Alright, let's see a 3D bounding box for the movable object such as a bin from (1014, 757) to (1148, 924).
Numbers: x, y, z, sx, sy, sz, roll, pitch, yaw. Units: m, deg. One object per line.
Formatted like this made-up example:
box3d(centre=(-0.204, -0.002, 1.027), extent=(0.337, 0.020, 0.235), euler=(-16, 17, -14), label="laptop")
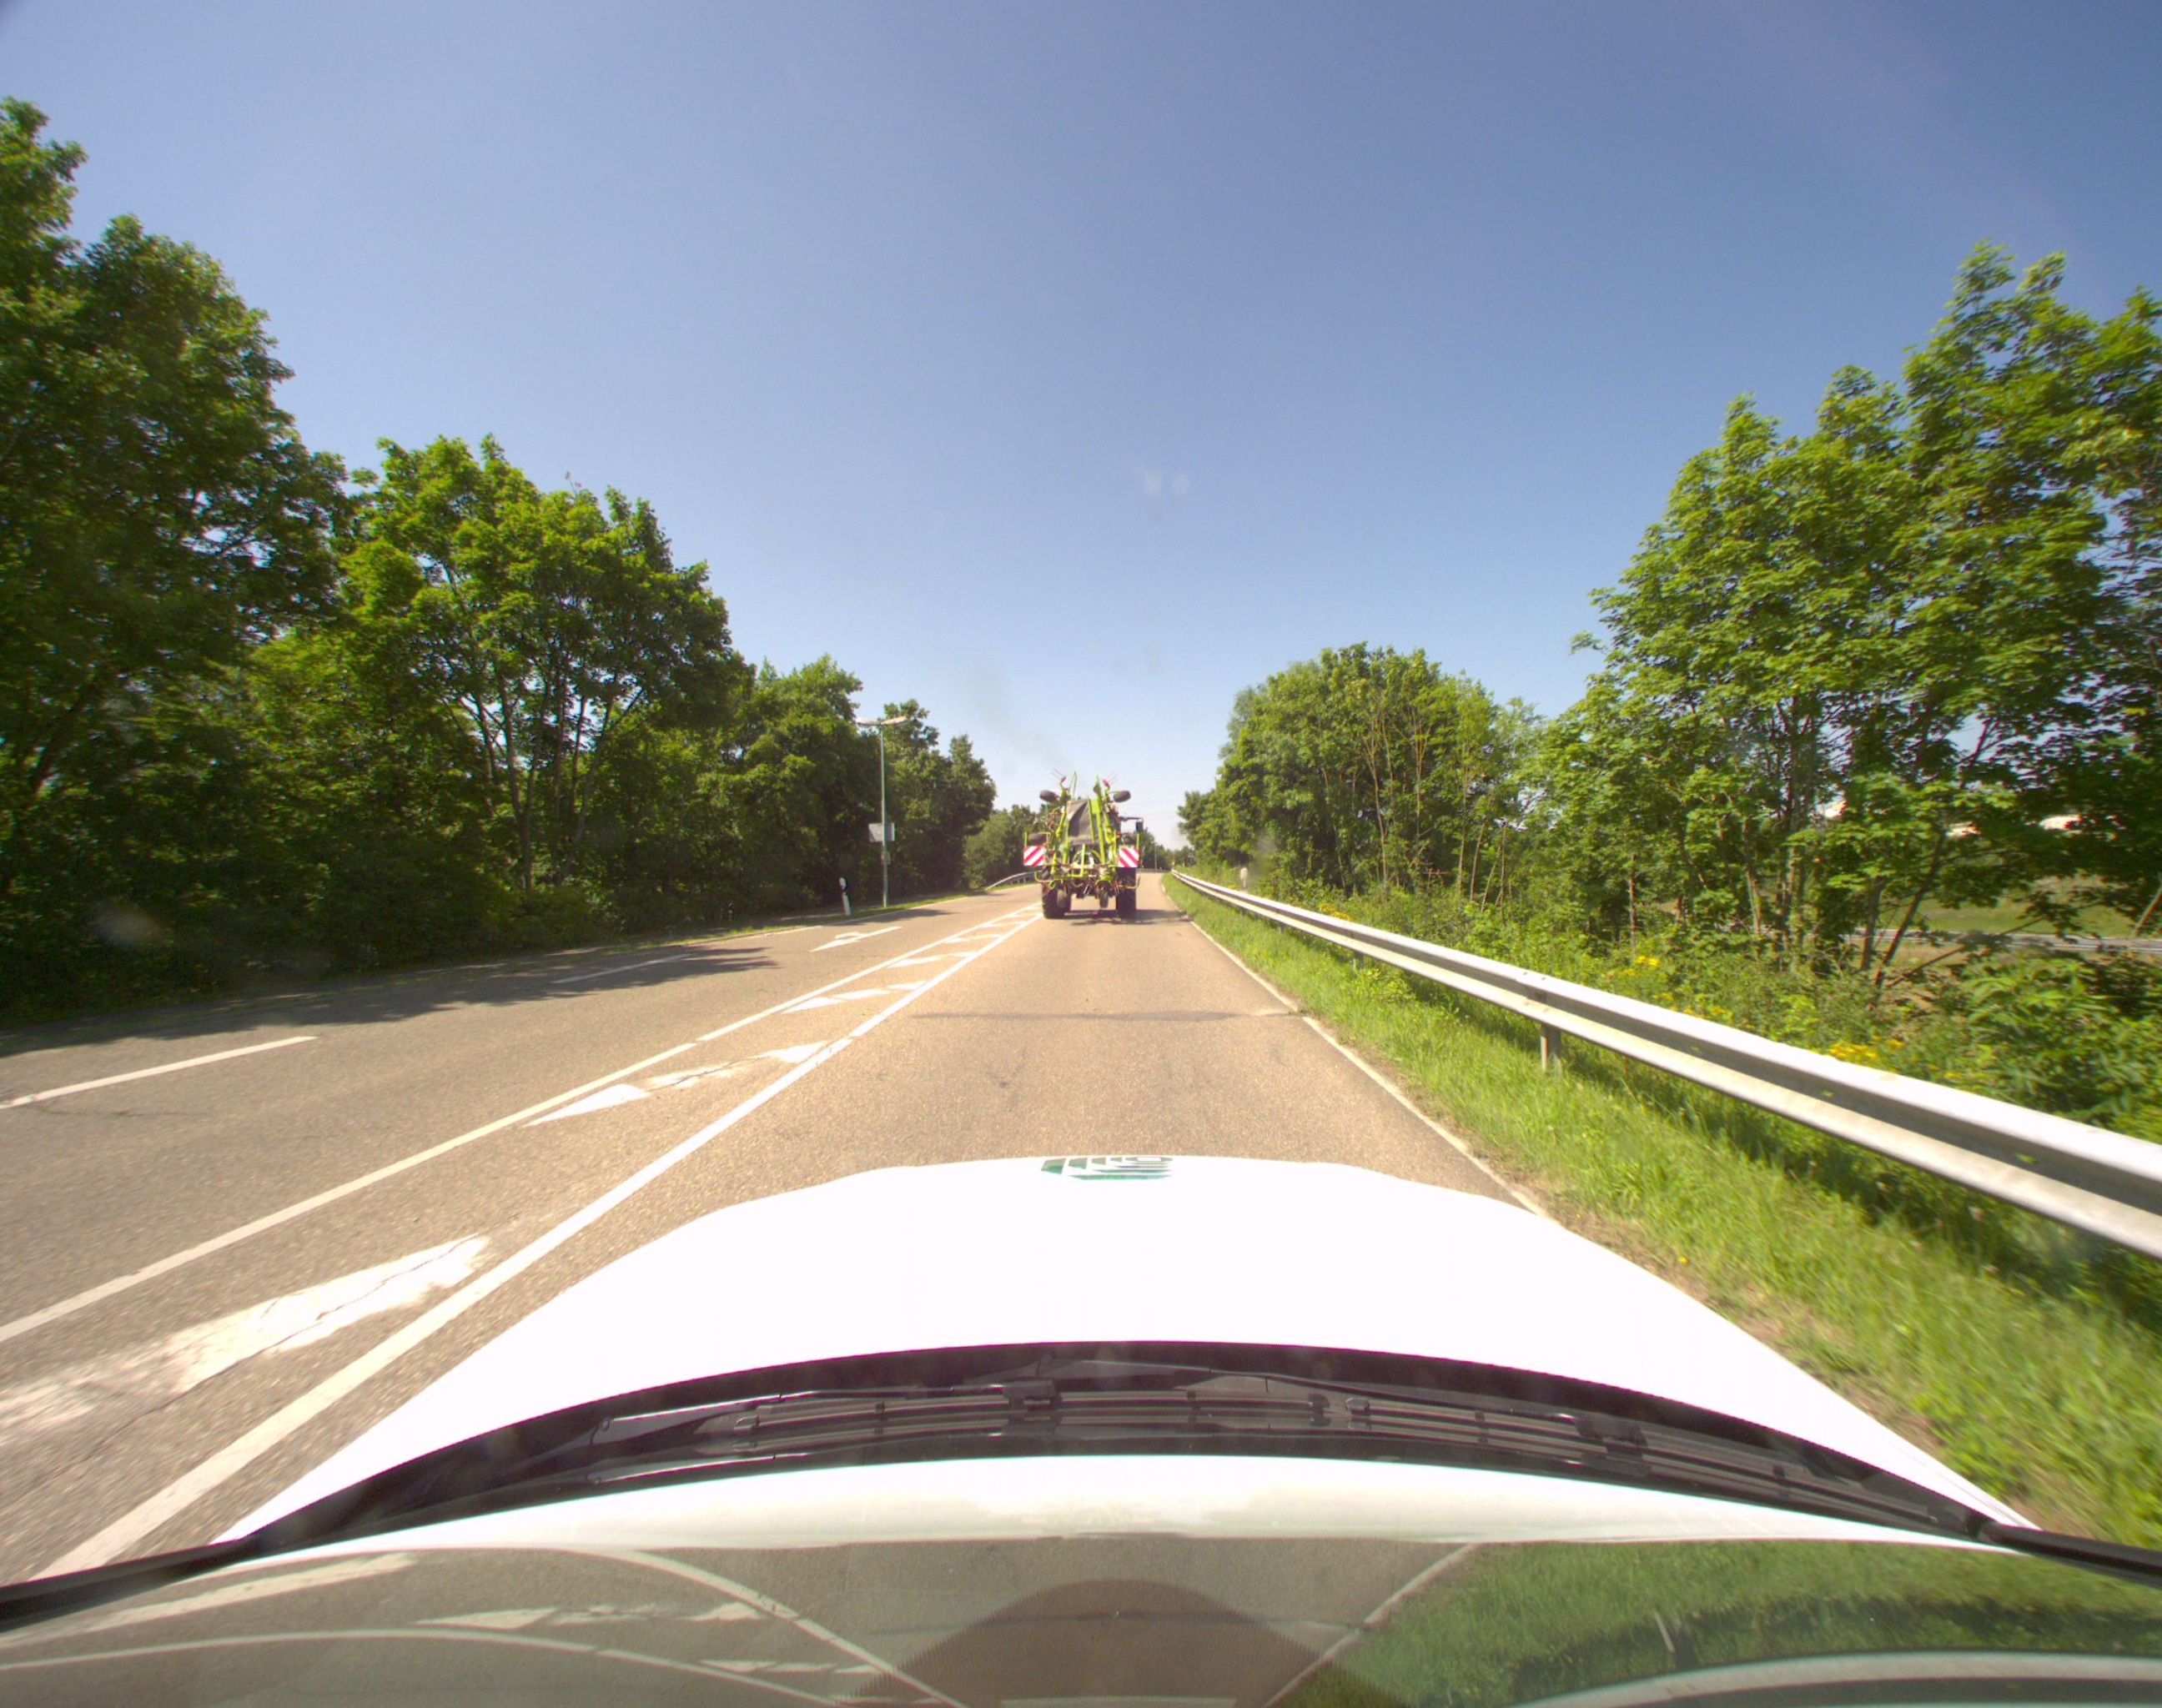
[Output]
box3d(centre=(0.180, -0.241, 20.071), extent=(2.743, 3.444, 5.675), euler=(-2, -1, 3), label="movable object such as a bin")
